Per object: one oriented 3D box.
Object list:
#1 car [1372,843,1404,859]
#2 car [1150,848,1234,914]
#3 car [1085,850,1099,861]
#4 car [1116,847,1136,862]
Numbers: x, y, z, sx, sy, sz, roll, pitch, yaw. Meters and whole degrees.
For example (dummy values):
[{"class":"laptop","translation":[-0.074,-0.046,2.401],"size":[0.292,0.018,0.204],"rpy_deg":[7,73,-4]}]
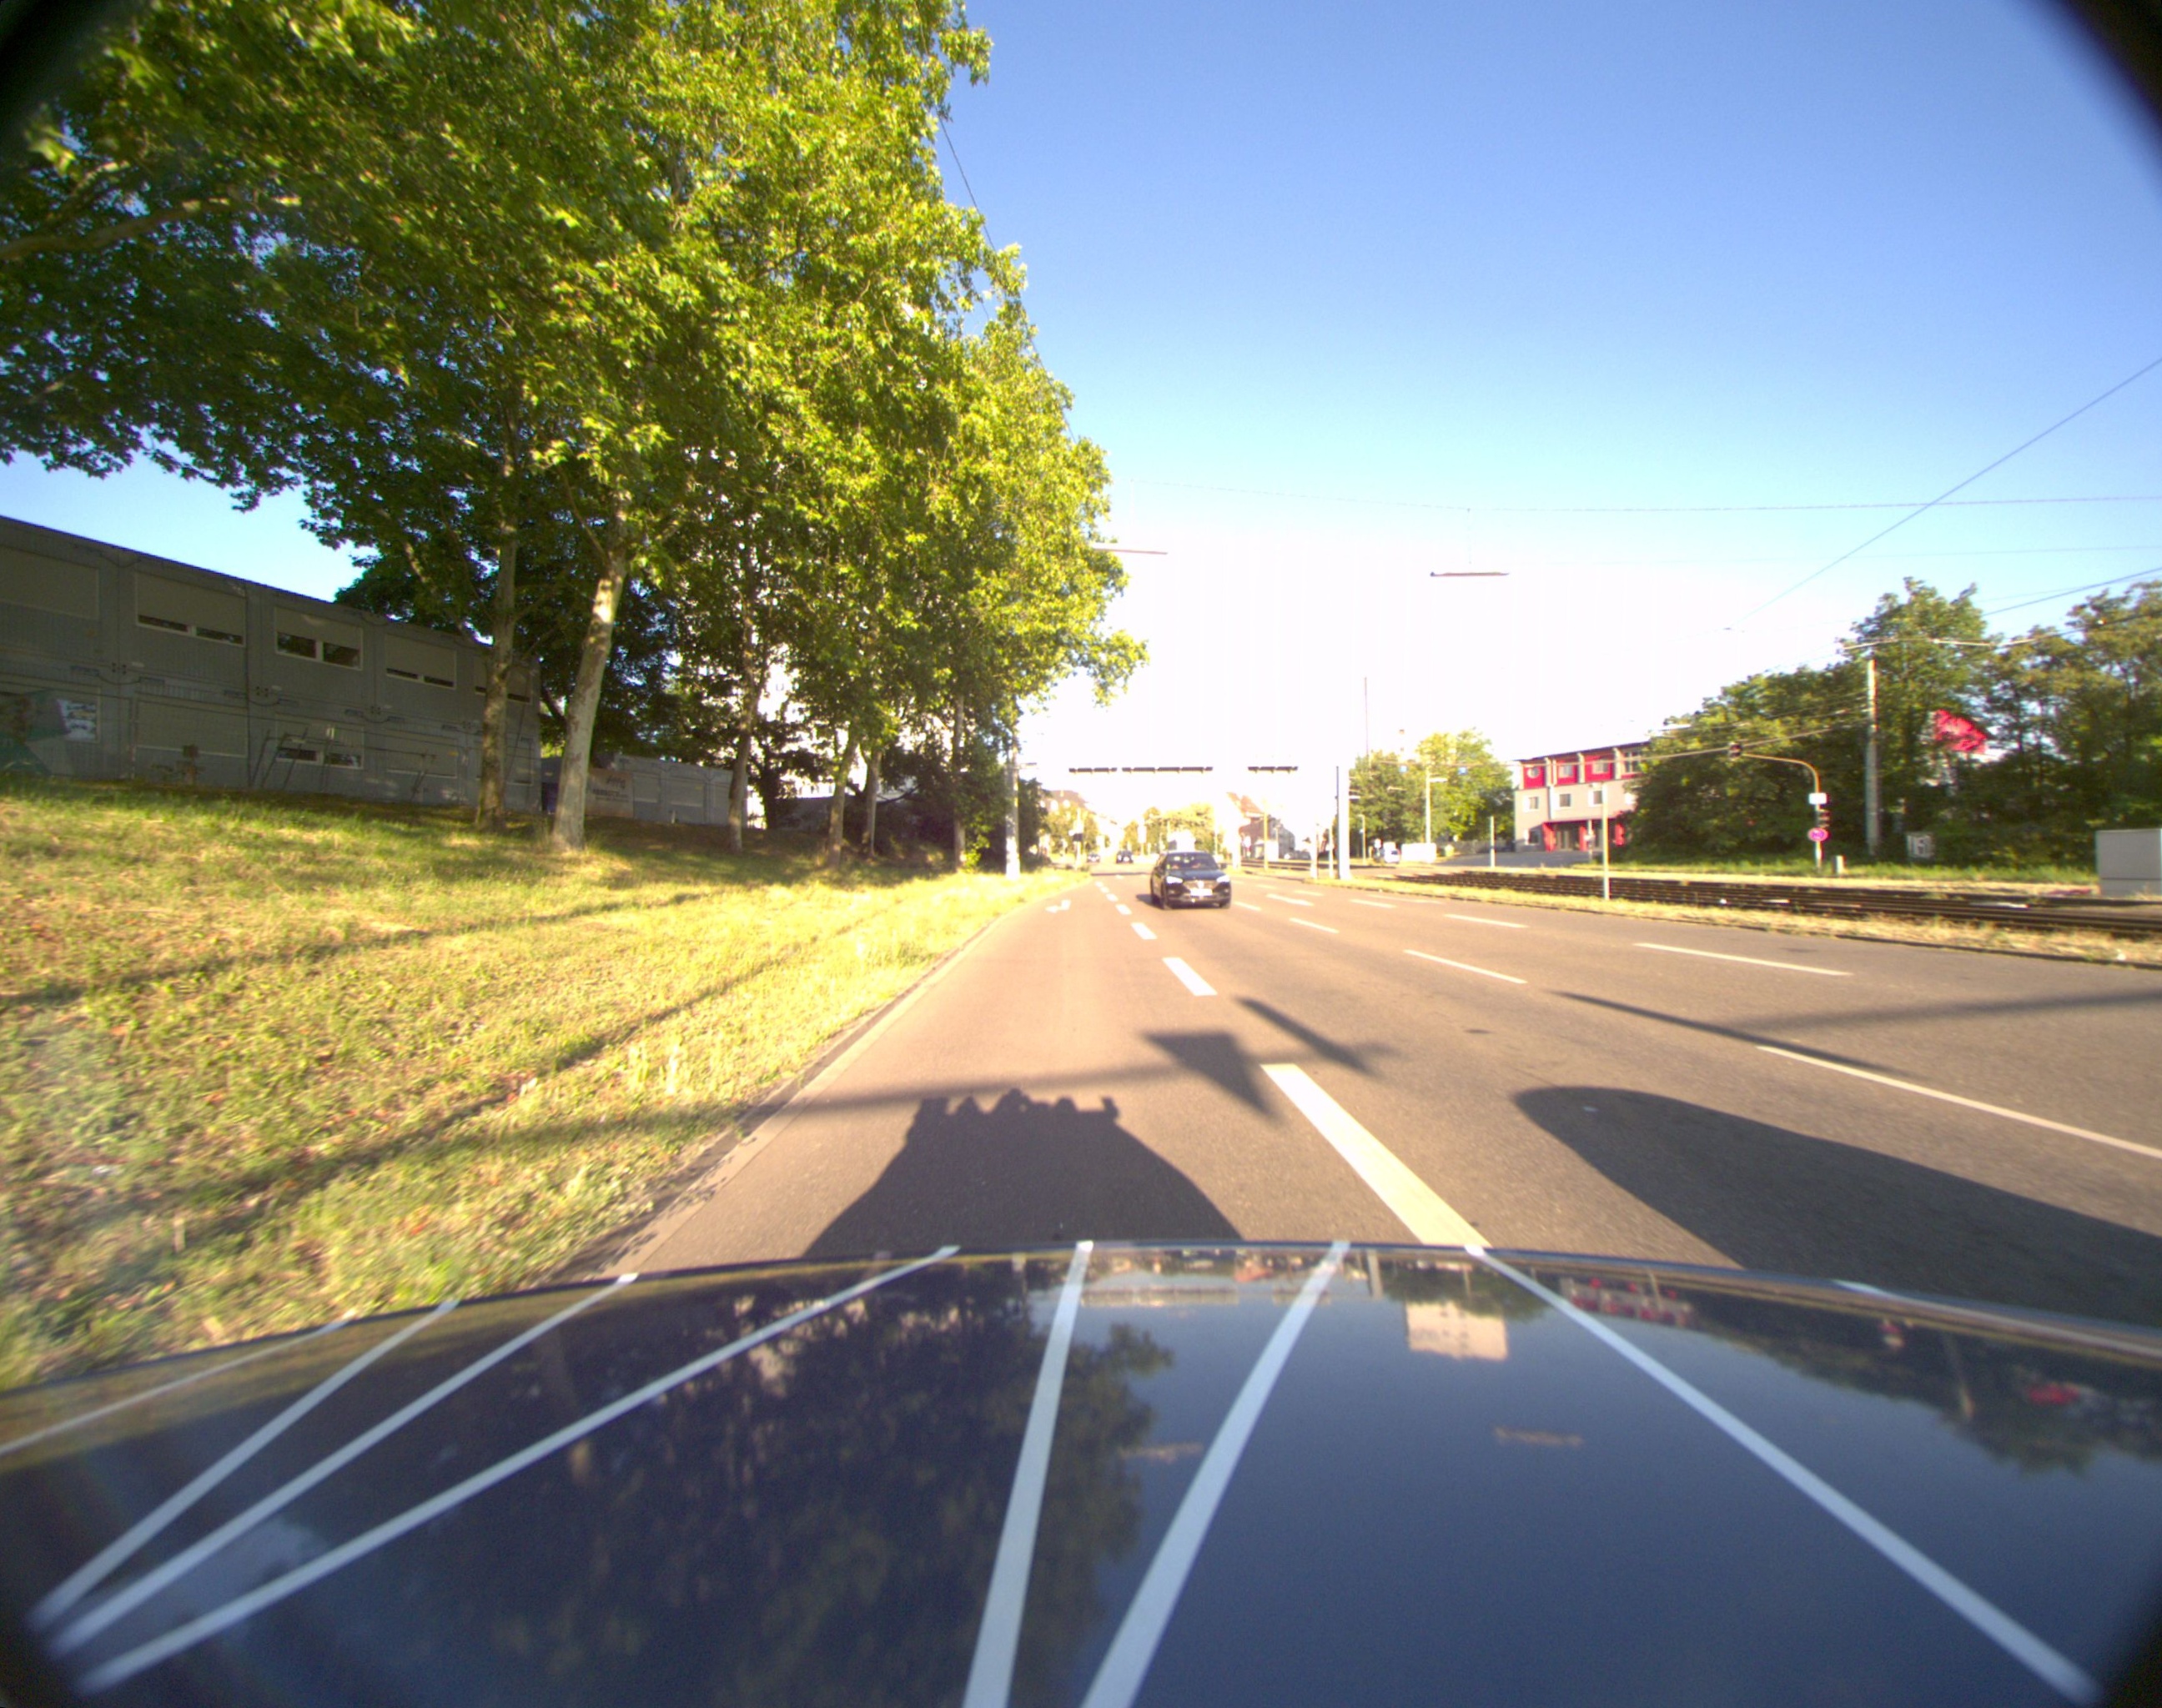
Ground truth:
[{"class":"car","translation":[34.319,-0.316,84.964],"size":[1.938,1.777,4.260],"rpy_deg":[-1,0,2]},{"class":"car","translation":[3.109,0.692,22.207],"size":[1.818,1.670,4.622],"rpy_deg":[-1,1,1]},{"class":"car","translation":[1.513,0.232,104.809],"size":[1.741,1.429,3.999],"rpy_deg":[-2,0,-2]},{"class":"car","translation":[5.329,0.028,90.010],"size":[1.906,1.652,4.275],"rpy_deg":[-1,0,-3]}]
